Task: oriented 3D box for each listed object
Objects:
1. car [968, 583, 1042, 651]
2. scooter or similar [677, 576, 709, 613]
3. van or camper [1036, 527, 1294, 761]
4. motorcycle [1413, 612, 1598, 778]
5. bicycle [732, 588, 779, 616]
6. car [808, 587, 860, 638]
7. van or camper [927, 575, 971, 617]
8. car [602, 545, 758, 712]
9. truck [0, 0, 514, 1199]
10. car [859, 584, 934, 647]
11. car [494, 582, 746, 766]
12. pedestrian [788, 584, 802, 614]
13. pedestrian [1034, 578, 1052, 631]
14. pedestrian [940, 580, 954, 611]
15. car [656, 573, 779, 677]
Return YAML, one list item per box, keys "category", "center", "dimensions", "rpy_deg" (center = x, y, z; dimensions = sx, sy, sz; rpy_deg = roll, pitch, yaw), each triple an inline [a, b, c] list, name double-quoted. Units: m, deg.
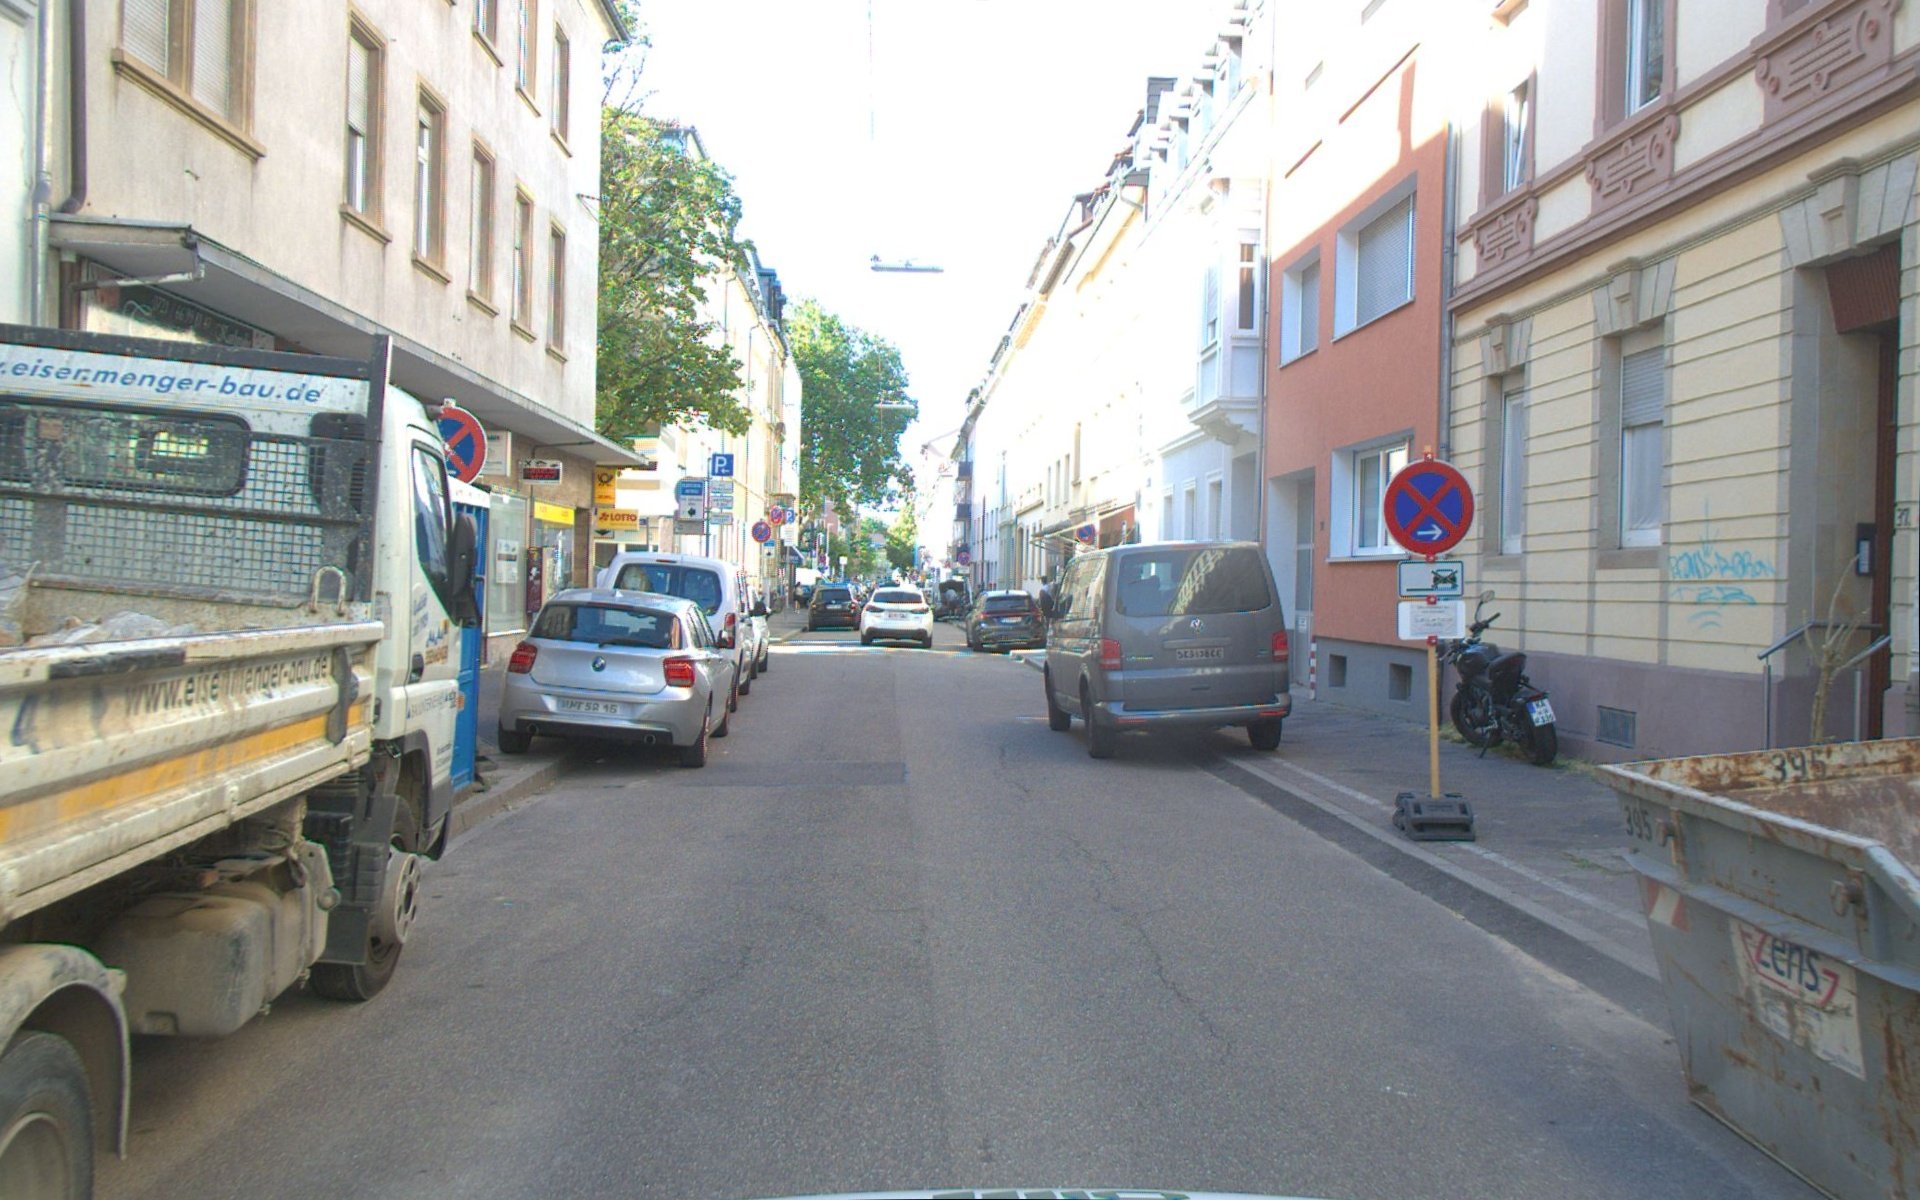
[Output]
- category: "car"
  center: [1.089, 0.398, 41.586]
  dimensions: [1.614, 1.604, 3.677]
  rpy_deg: [1, 0, -2]
- category: "scooter or similar"
  center: [-11.829, -0.228, 73.251]
  dimensions: [0.501, 1.585, 1.604]
  rpy_deg: [2, 0, 29]
- category: "van or camper"
  center: [1.946, 0.375, 17.056]
  dimensions: [1.740, 2.072, 4.566]
  rpy_deg: [-1, 0, -5]
- category: "motorcycle"
  center: [4.629, 0.751, 14.267]
  dimensions: [0.584, 1.207, 2.759]
  rpy_deg: [-3, 1, -1]
- category: "bicycle"
  center: [-8.613, 0.087, 69.690]
  dimensions: [1.934, 1.134, 0.505]
  rpy_deg: [2, 0, -38]
- category: "car"
  center: [-4.279, 0.407, 56.409]
  dimensions: [1.592, 1.625, 3.578]
  rpy_deg: [2, 0, -2]
- category: "van or camper"
  center: [-0.554, -0.165, 79.051]
  dimensions: [1.953, 1.959, 3.998]
  rpy_deg: [1, -1, -2]
- category: "car"
  center: [-3.464, 0.310, 21.052]
  dimensions: [1.615, 1.900, 3.996]
  rpy_deg: [1, 0, -5]
- category: "truck"
  center: [-2.655, 0.108, 4.059]
  dimensions: [2.116, 2.635, 6.239]
  rpy_deg: [1, 0, -7]
- category: "car"
  center: [-1.598, 0.367, 42.395]
  dimensions: [1.797, 1.512, 4.056]
  rpy_deg: [1, 0, -2]
- category: "car"
  center: [-2.972, 0.566, 15.218]
  dimensions: [1.723, 1.440, 3.997]
  rpy_deg: [-1, 1, -4]
- category: "pedestrian"
  center: [-8.203, -0.054, 82.258]
  dimensions: [0.615, 1.490, 0.575]
  rpy_deg: [1, -1, -3]
- category: "pedestrian"
  center: [2.777, 0.151, 55.192]
  dimensions: [0.517, 1.757, 0.490]
  rpy_deg: [0, -1, 13]
- category: "pedestrian"
  center: [-0.631, -0.200, 80.540]
  dimensions: [0.615, 1.490, 0.575]
  rpy_deg: [1, -1, -3]
- category: "car"
  center: [-3.986, 0.376, 27.692]
  dimensions: [1.614, 1.604, 3.677]
  rpy_deg: [1, 0, -2]
